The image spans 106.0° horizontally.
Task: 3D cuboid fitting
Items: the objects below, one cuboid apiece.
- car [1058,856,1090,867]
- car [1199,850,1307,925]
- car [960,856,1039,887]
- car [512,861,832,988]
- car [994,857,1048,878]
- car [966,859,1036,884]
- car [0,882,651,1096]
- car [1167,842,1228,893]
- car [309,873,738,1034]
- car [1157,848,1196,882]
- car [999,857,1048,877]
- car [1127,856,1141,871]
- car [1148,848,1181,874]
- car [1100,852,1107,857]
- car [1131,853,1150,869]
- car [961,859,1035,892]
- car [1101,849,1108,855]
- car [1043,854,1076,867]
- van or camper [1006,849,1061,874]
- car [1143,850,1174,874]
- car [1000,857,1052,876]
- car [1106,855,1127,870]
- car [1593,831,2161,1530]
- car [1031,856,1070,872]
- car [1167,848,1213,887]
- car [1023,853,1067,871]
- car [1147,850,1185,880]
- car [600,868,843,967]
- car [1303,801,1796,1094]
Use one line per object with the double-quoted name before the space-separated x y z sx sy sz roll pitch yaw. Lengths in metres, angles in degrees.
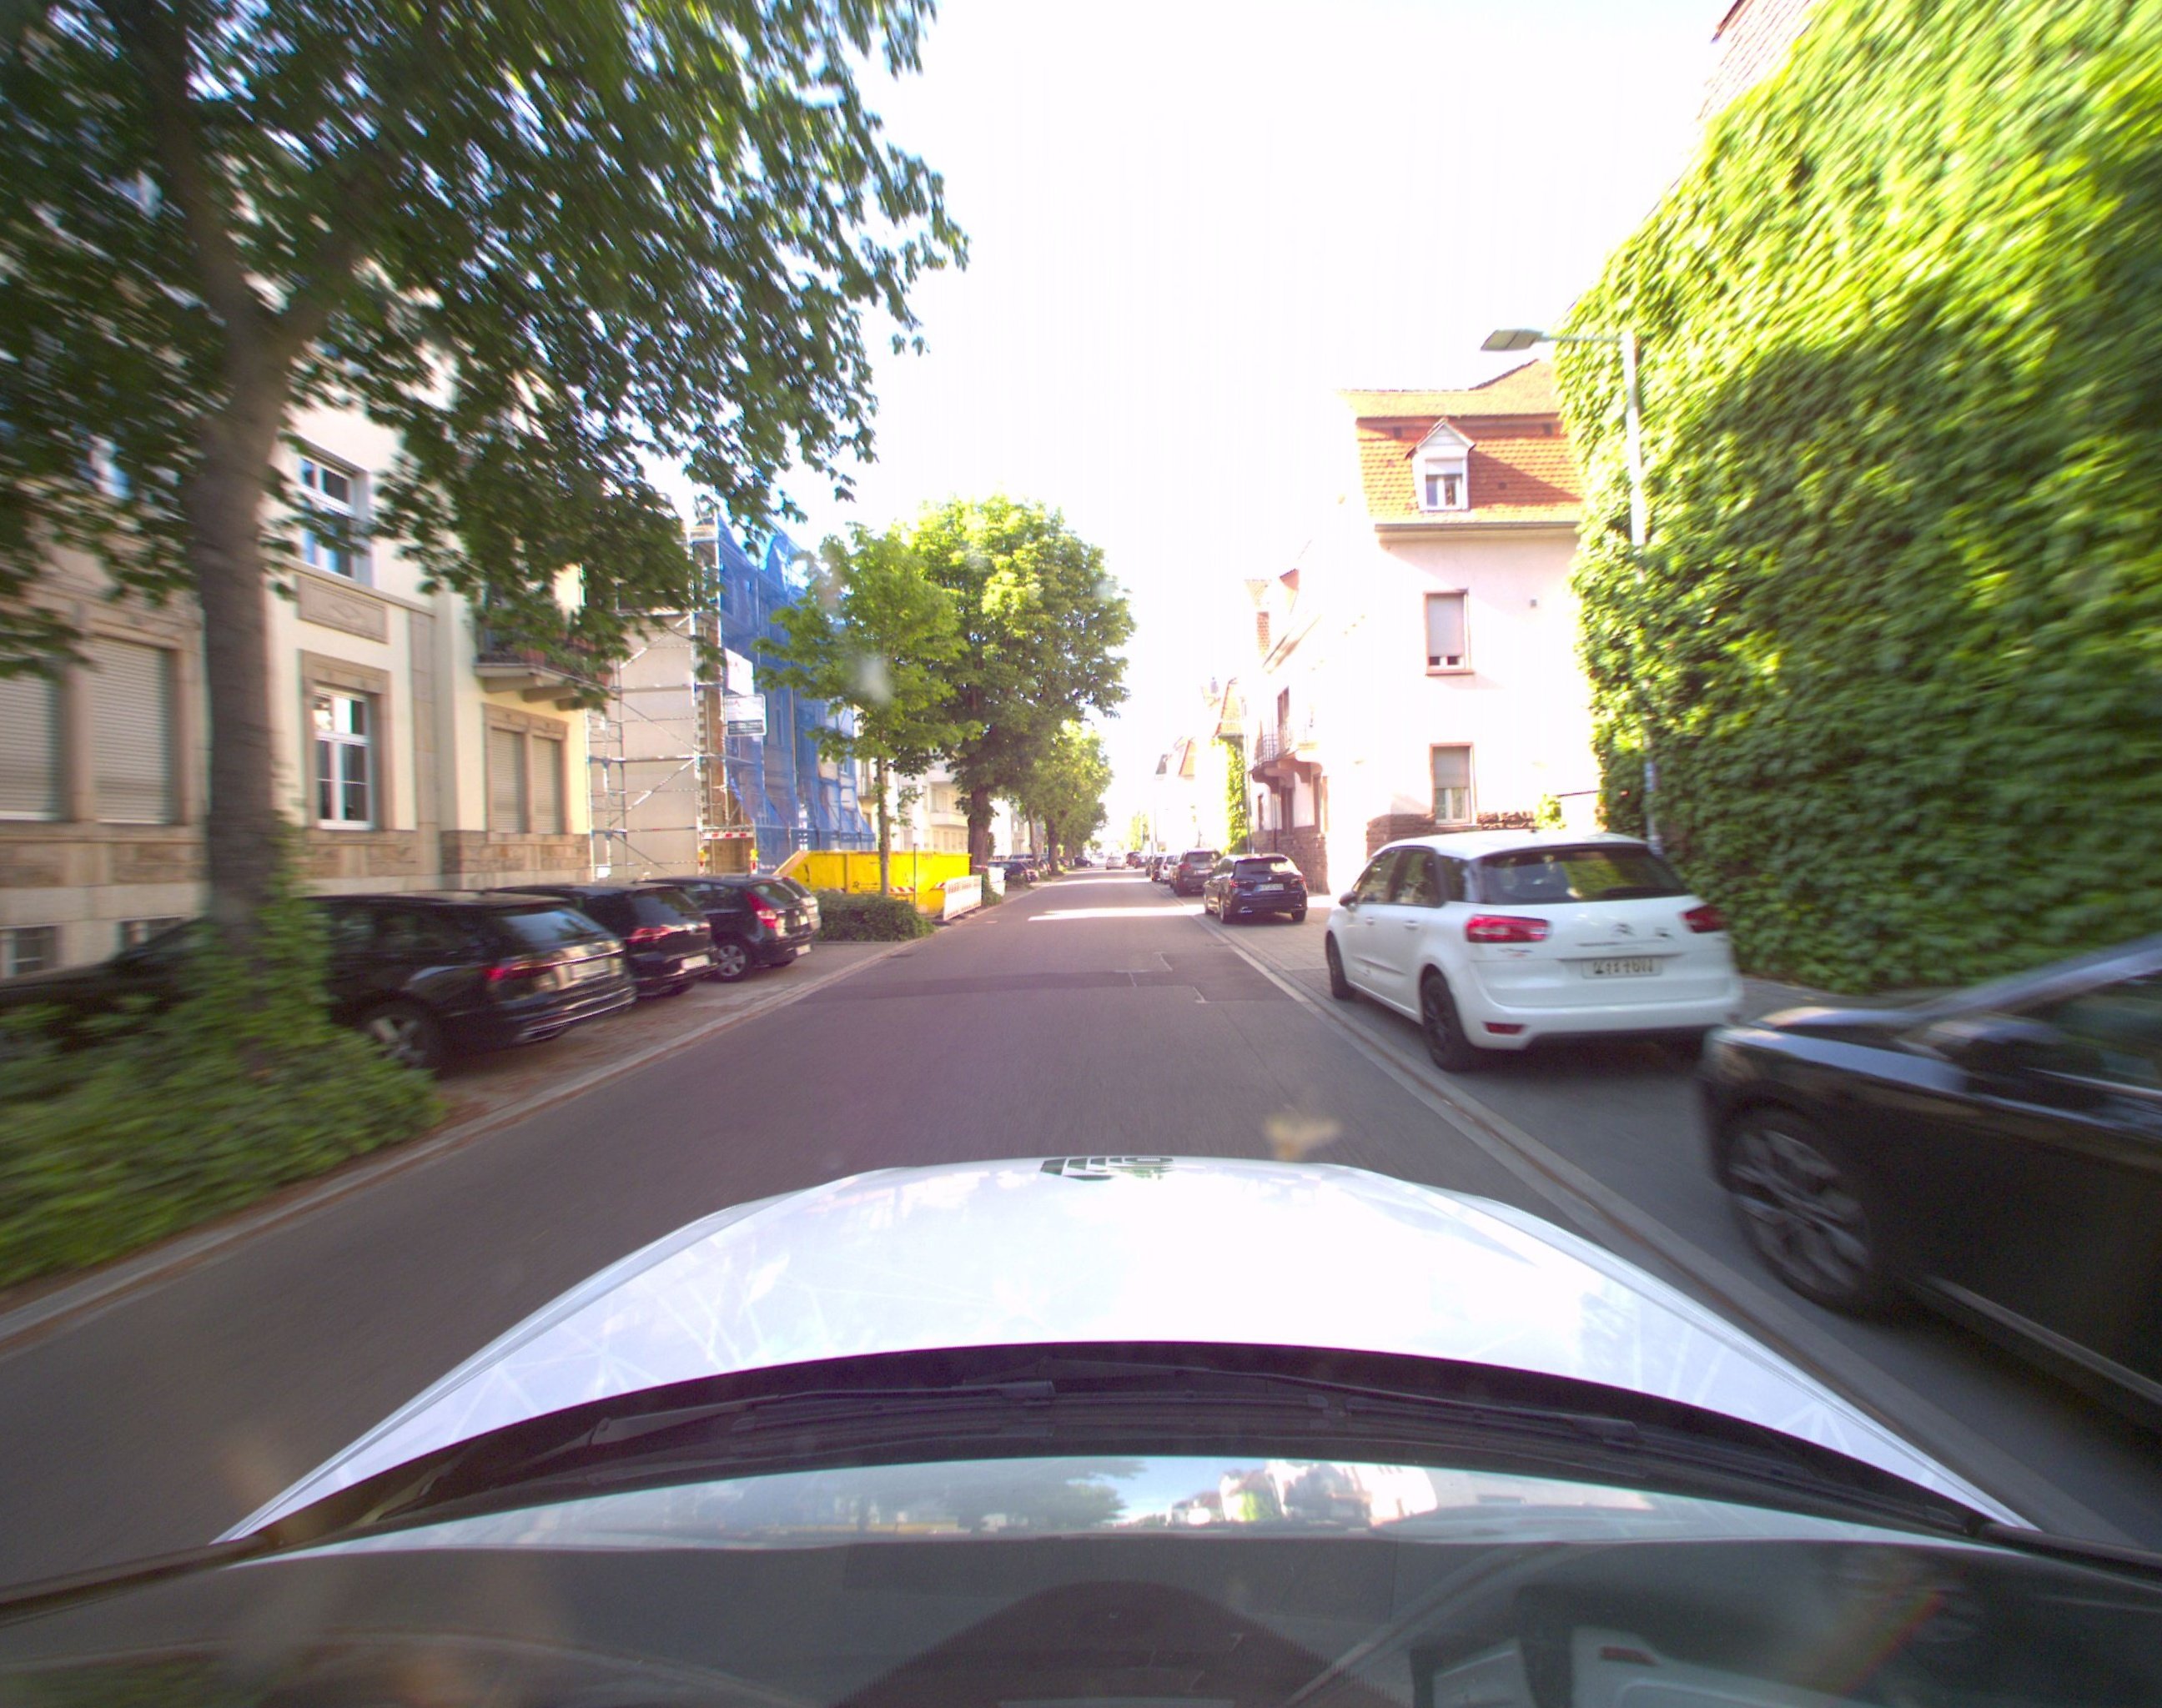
"car" -0.983 0.973 111.152 4.170 1.448 1.714 -1 -1 3
"car" 3.756 0.664 18.473 1.637 1.454 4.506 -2 0 3
"car" -4.878 1.030 48.868 4.585 1.607 1.828 -2 0 -7
"car" -5.833 0.976 11.920 3.711 1.464 1.716 -4 1 3
"car" -4.331 0.991 58.915 3.628 1.463 1.712 -1 0 4
"car" -4.995 1.098 51.469 4.173 1.441 1.713 -2 0 0
"car" -6.153 1.028 6.840 4.124 1.401 1.711 -2 0 1
"car" 4.153 0.502 29.576 1.771 1.696 4.323 -1 -1 3
"car" -6.221 1.069 9.384 3.733 1.431 1.647 -3 0 2
"car" 4.827 0.576 41.424 1.569 1.549 3.470 -4 -1 2
"car" -4.300 0.964 61.340 3.464 1.458 1.799 -1 0 3
"car" 7.373 1.293 113.282 1.863 1.905 5.202 -4 -1 3
"car" 5.357 0.477 52.648 1.785 1.520 4.368 -4 -1 2
"car" 6.710 0.085 245.893 1.783 1.532 3.994 -2 0 -4
"car" 6.125 0.665 83.789 1.614 1.439 3.935 -5 0 0
"car" -4.536 1.145 44.462 3.867 1.514 1.828 -4 0 -7
"car" 6.955 -0.531 241.372 1.868 1.728 3.996 -3 0 -2
"car" -2.626 0.779 101.100 4.008 1.484 1.807 -1 0 1
"van or camper" -4.006 0.663 69.271 4.480 1.914 1.965 -2 0 1
"car" 5.472 0.572 58.027 1.657 1.520 3.999 -4 -1 -1
"car" -4.320 0.998 64.059 3.909 1.414 1.715 -1 1 -1
"car" 3.627 0.884 82.747 1.716 1.420 3.970 -2 0 9
"car" 3.056 0.675 1.586 1.631 1.421 4.010 -3 0 2
"car" -3.219 1.035 85.906 3.972 1.468 1.697 -3 0 1
"car" 4.632 0.584 34.861 1.619 1.549 2.870 -1 -1 2
"car" -3.568 0.778 80.926 4.172 1.498 1.861 -3 0 0
"car" 4.724 0.619 45.621 1.703 1.436 4.194 -5 -1 2
"car" -6.384 1.102 14.731 3.535 1.448 1.696 -4 0 2
"car" 3.350 0.555 6.946 1.860 1.644 4.202 -3 0 2
